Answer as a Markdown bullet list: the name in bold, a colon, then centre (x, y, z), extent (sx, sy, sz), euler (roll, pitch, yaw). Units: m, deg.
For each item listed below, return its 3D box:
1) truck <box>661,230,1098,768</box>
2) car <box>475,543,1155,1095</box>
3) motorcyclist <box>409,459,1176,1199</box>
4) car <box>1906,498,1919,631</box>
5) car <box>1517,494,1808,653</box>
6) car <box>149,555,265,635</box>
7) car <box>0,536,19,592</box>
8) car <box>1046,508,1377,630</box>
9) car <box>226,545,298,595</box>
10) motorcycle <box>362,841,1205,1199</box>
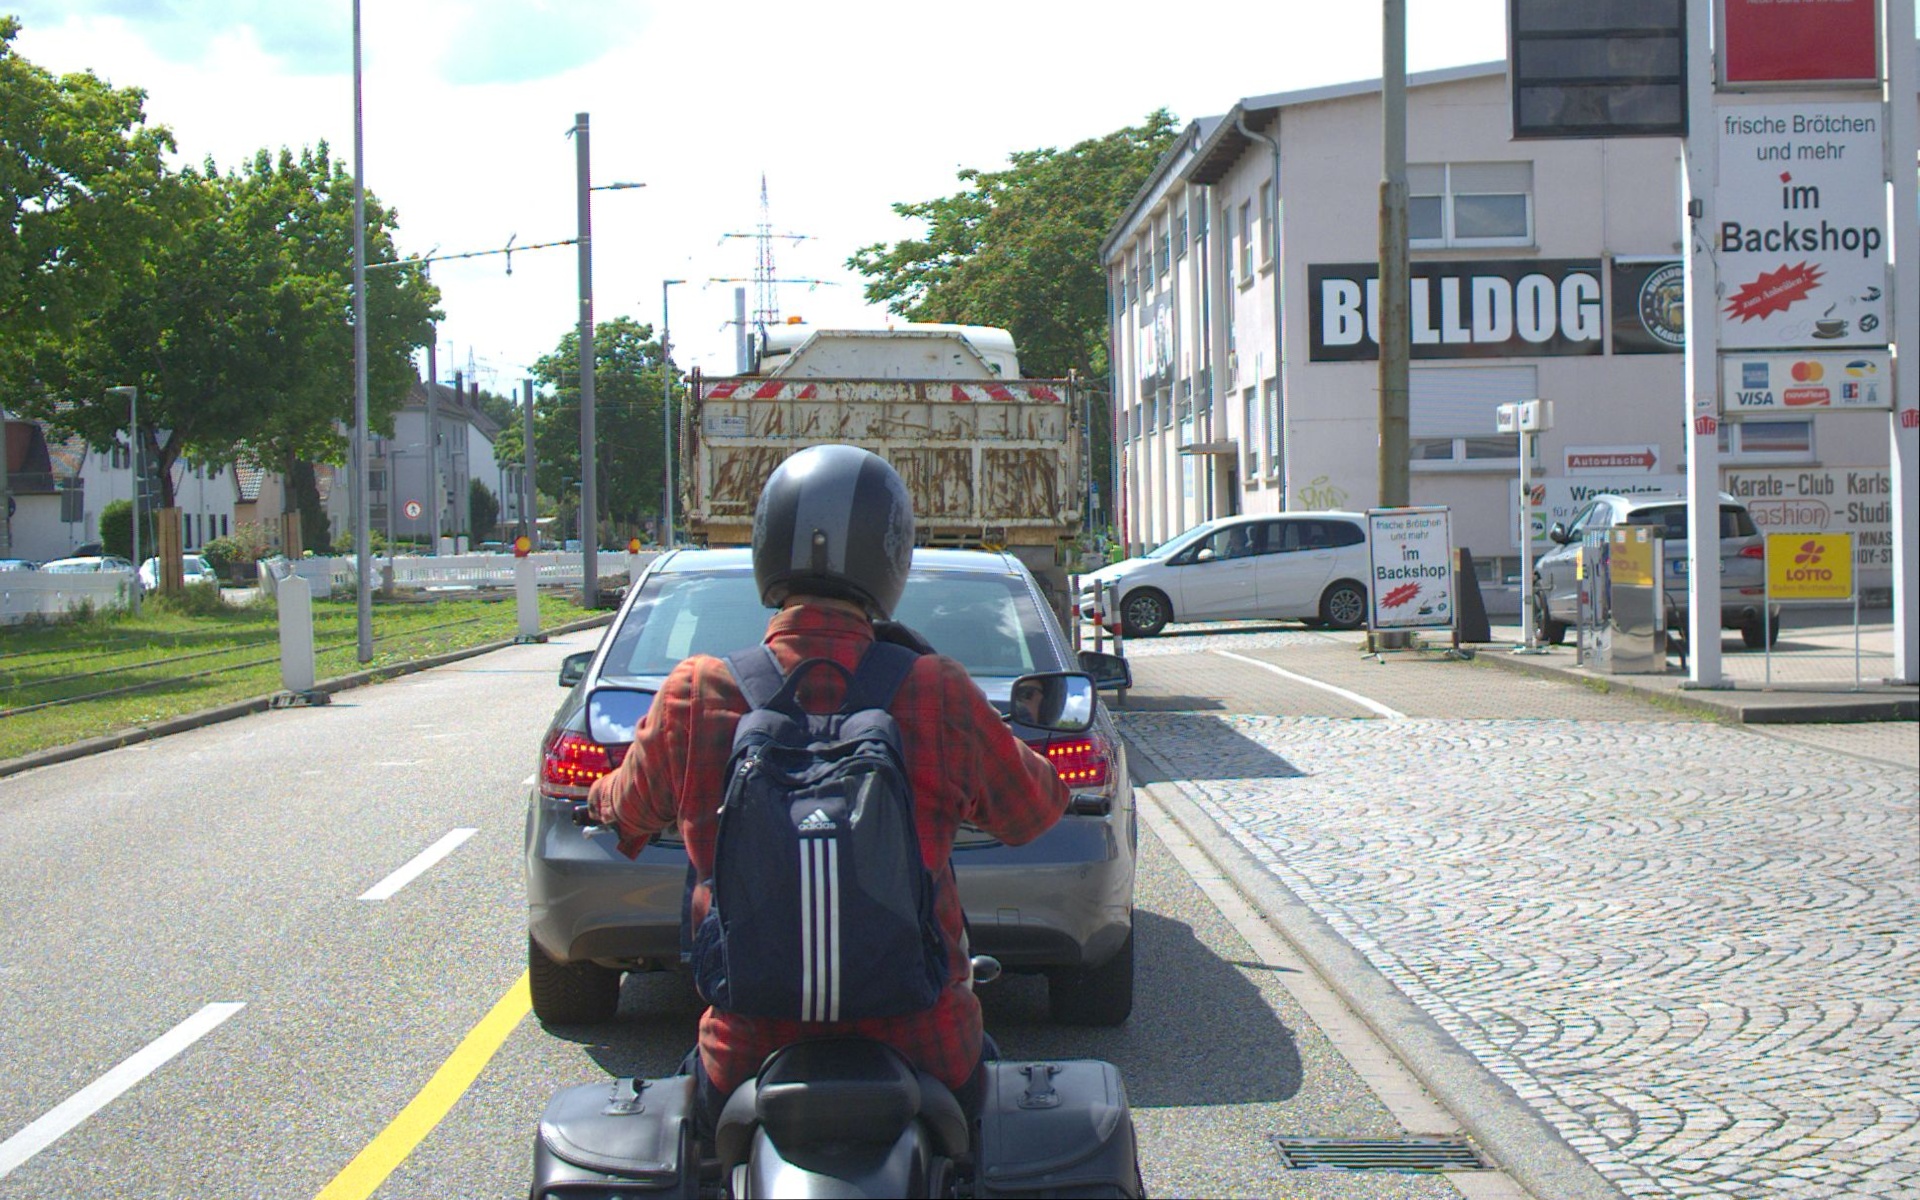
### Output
- **truck**: centre (-0.542, -0.717, 25.368), extent (2.638, 3.285, 8.057), euler (-1, 1, -1)
- **car**: centre (-0.416, 0.562, 11.325), extent (1.823, 1.447, 4.000), euler (1, 1, -1)
- **motorcyclist**: centre (-0.216, 0.613, 5.032), extent (0.979, 1.597, 1.088), euler (-1, 1, -1)
- **car**: centre (11.734, -0.384, 37.094), extent (1.806, 1.498, 3.834), euler (-1, 1, -3)
- **car**: centre (7.379, -0.309, 36.525), extent (1.667, 1.557, 4.245), euler (-1, 1, -8)
- **car**: centre (-17.496, -0.139, 80.030), extent (1.776, 1.717, 4.128), euler (-1, 1, 0)
- **car**: centre (-30.042, -1.070, 104.410), extent (1.776, 1.717, 4.128), euler (-1, 1, 0)
- **car**: centre (3.423, -0.439, 47.067), extent (4.229, 1.537, 1.673), euler (-1, 1, -8)
- **car**: centre (-25.416, -1.109, 125.247), extent (1.776, 1.717, 4.128), euler (-1, 1, 0)
- **motorcycle**: centre (-0.212, 0.955, 5.343), extent (0.979, 0.894, 2.653), euler (-1, 1, -1)
